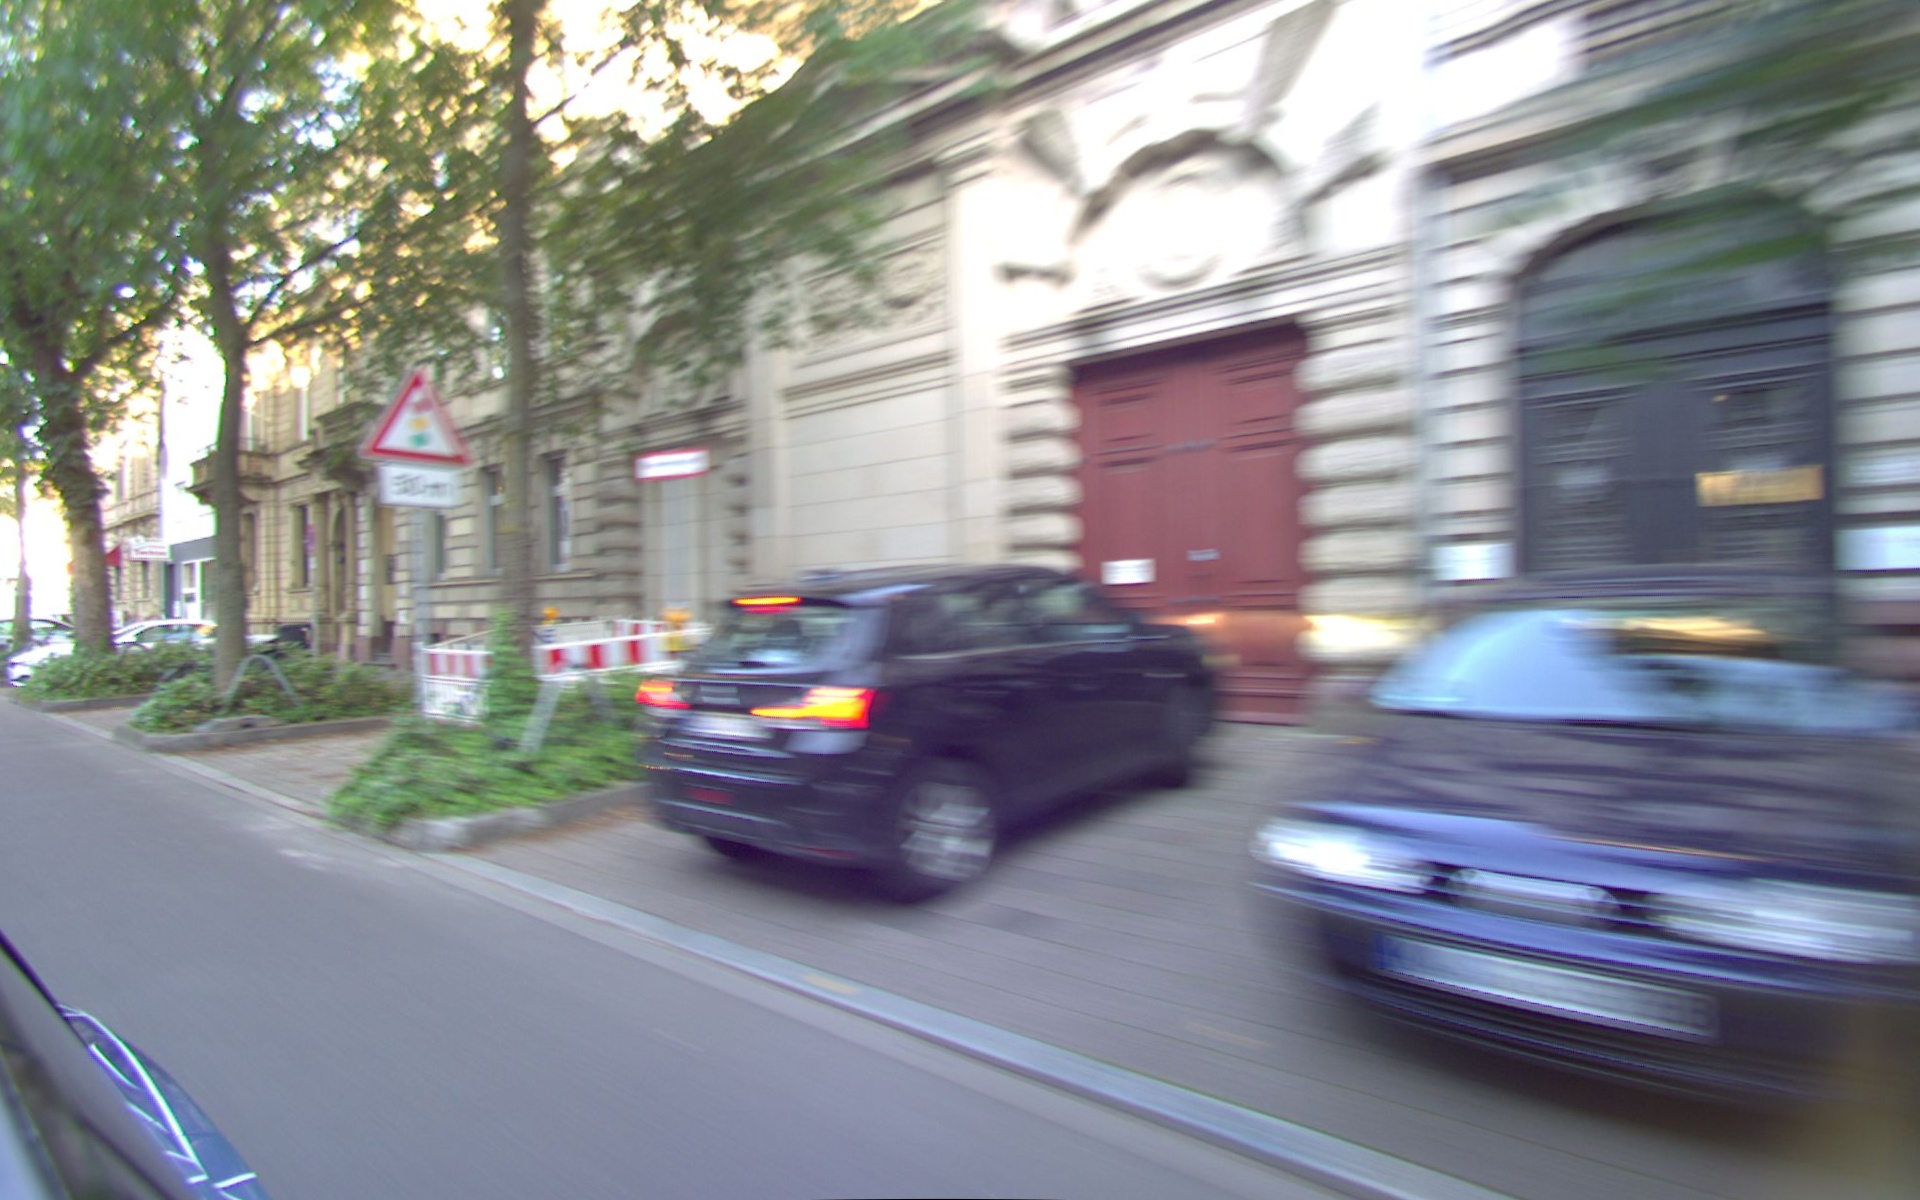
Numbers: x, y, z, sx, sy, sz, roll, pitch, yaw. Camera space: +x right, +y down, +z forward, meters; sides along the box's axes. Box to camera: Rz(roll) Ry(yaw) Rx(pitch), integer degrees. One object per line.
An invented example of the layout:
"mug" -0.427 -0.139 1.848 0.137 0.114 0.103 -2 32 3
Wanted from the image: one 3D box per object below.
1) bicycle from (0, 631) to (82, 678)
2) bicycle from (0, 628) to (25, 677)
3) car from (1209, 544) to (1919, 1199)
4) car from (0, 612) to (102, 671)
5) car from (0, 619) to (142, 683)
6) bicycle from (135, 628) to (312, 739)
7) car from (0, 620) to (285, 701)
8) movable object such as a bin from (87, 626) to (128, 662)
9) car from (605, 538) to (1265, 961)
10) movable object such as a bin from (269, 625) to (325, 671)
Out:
"bicycle" -21.887 1.270 23.812 0.598 1.016 1.776 -1 0 41
"bicycle" -26.777 1.454 27.588 0.772 1.336 1.779 -2 -1 34
"car" 2.713 0.573 3.893 1.764 1.397 3.925 -3 2 41
"car" -30.529 1.356 32.380 1.888 1.735 4.383 -2 1 38
"car" -24.916 1.362 27.367 1.826 1.569 4.125 -2 0 43
"bicycle" -9.270 1.012 12.797 1.751 1.241 0.500 -1 0 -45
"car" -16.880 1.166 20.988 1.915 1.401 4.466 -1 0 41
"movable object such as a bin" -26.599 1.363 31.564 1.316 1.070 0.767 -2 -1 40
"car" 0.159 0.528 6.126 1.779 1.608 3.926 -1 3 40
"movable object such as a bin" -16.413 1.180 25.042 1.316 1.069 0.793 -2 1 40
